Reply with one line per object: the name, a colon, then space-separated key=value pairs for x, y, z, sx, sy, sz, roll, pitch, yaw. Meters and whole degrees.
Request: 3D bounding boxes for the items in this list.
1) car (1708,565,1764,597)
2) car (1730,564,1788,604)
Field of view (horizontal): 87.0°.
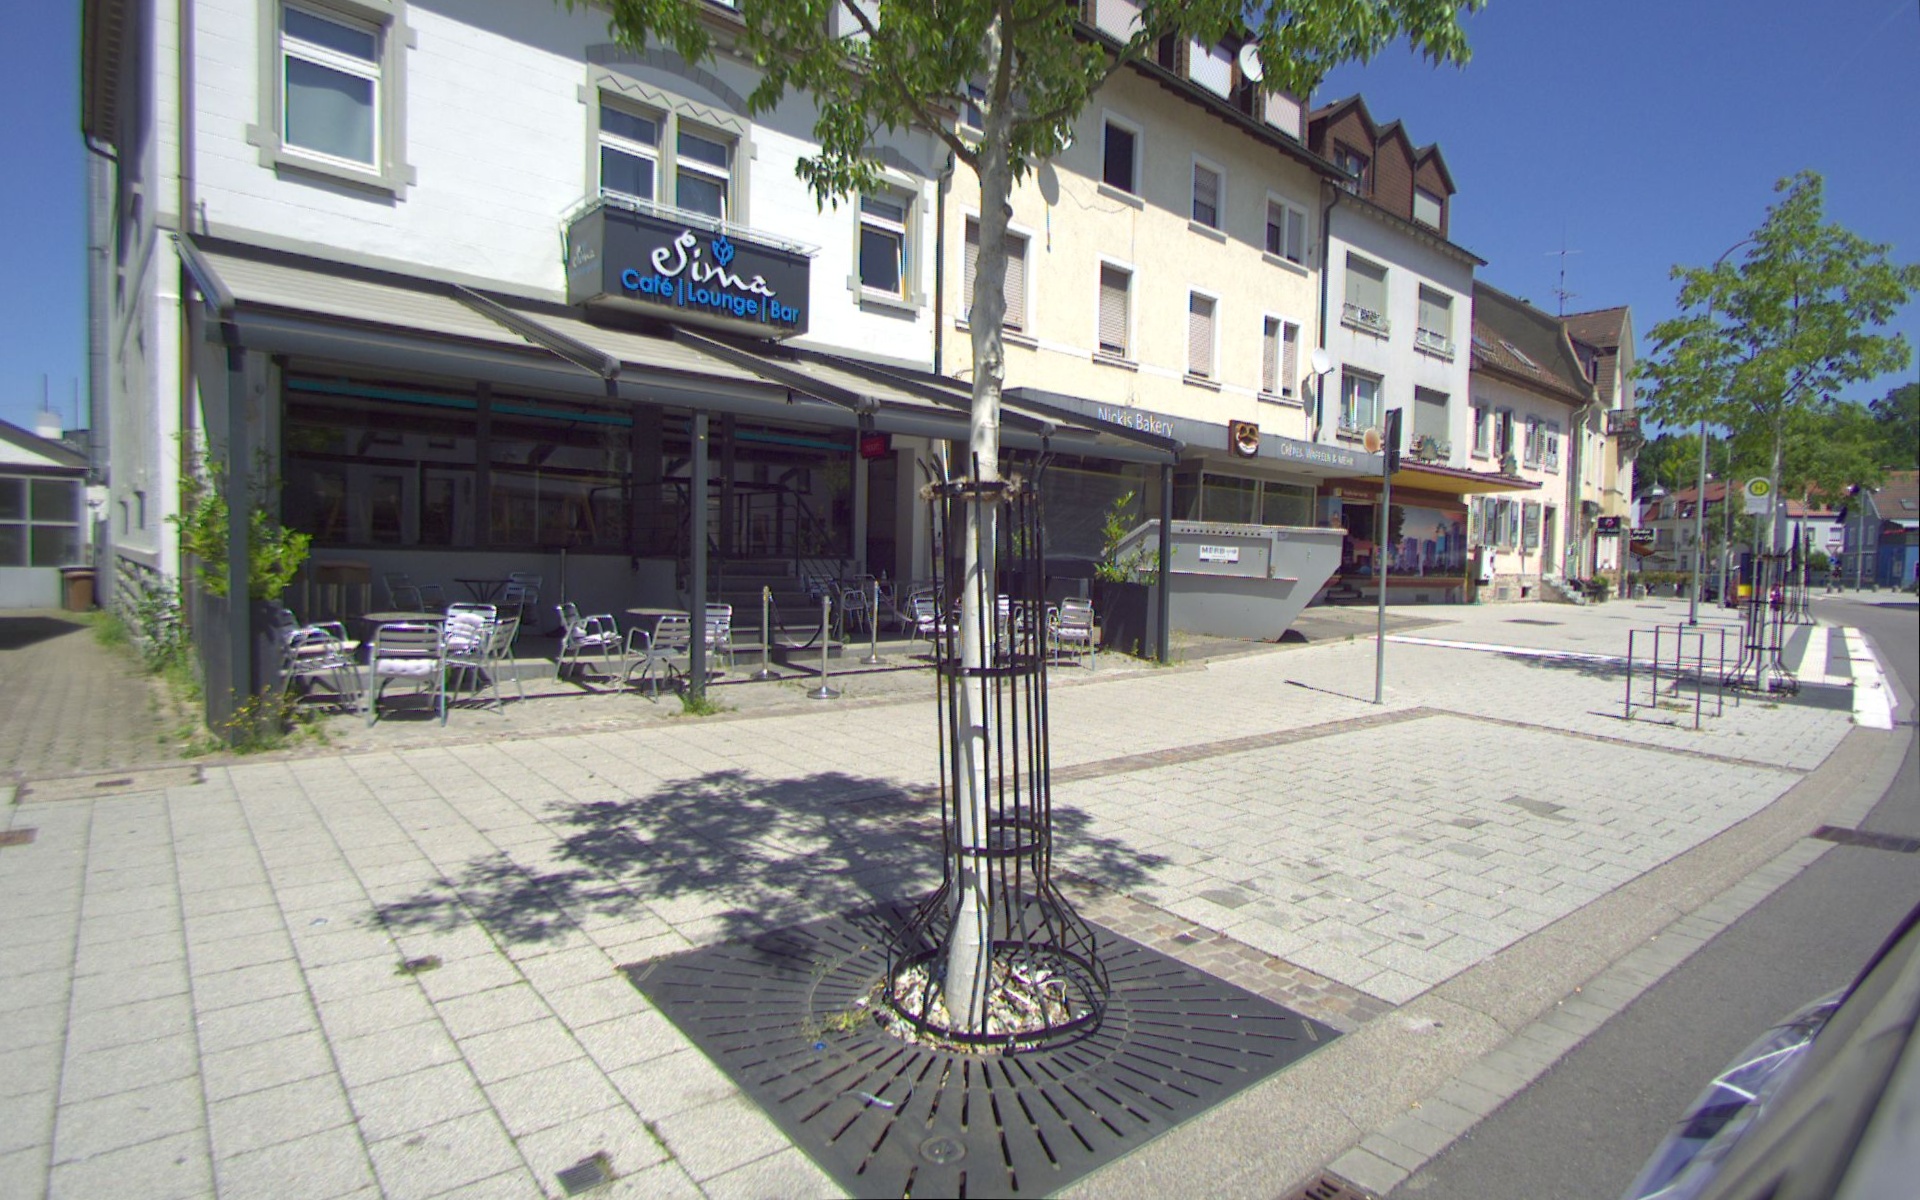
car: x=40.484 y=-1.007 z=52.875 sx=1.722 sy=1.490 sz=4.277 roll=5 pitch=4 yaw=31
car: x=32.730 y=-0.689 z=41.544 sx=1.675 sy=1.532 sz=3.343 roll=3 pitch=3 yaw=36
